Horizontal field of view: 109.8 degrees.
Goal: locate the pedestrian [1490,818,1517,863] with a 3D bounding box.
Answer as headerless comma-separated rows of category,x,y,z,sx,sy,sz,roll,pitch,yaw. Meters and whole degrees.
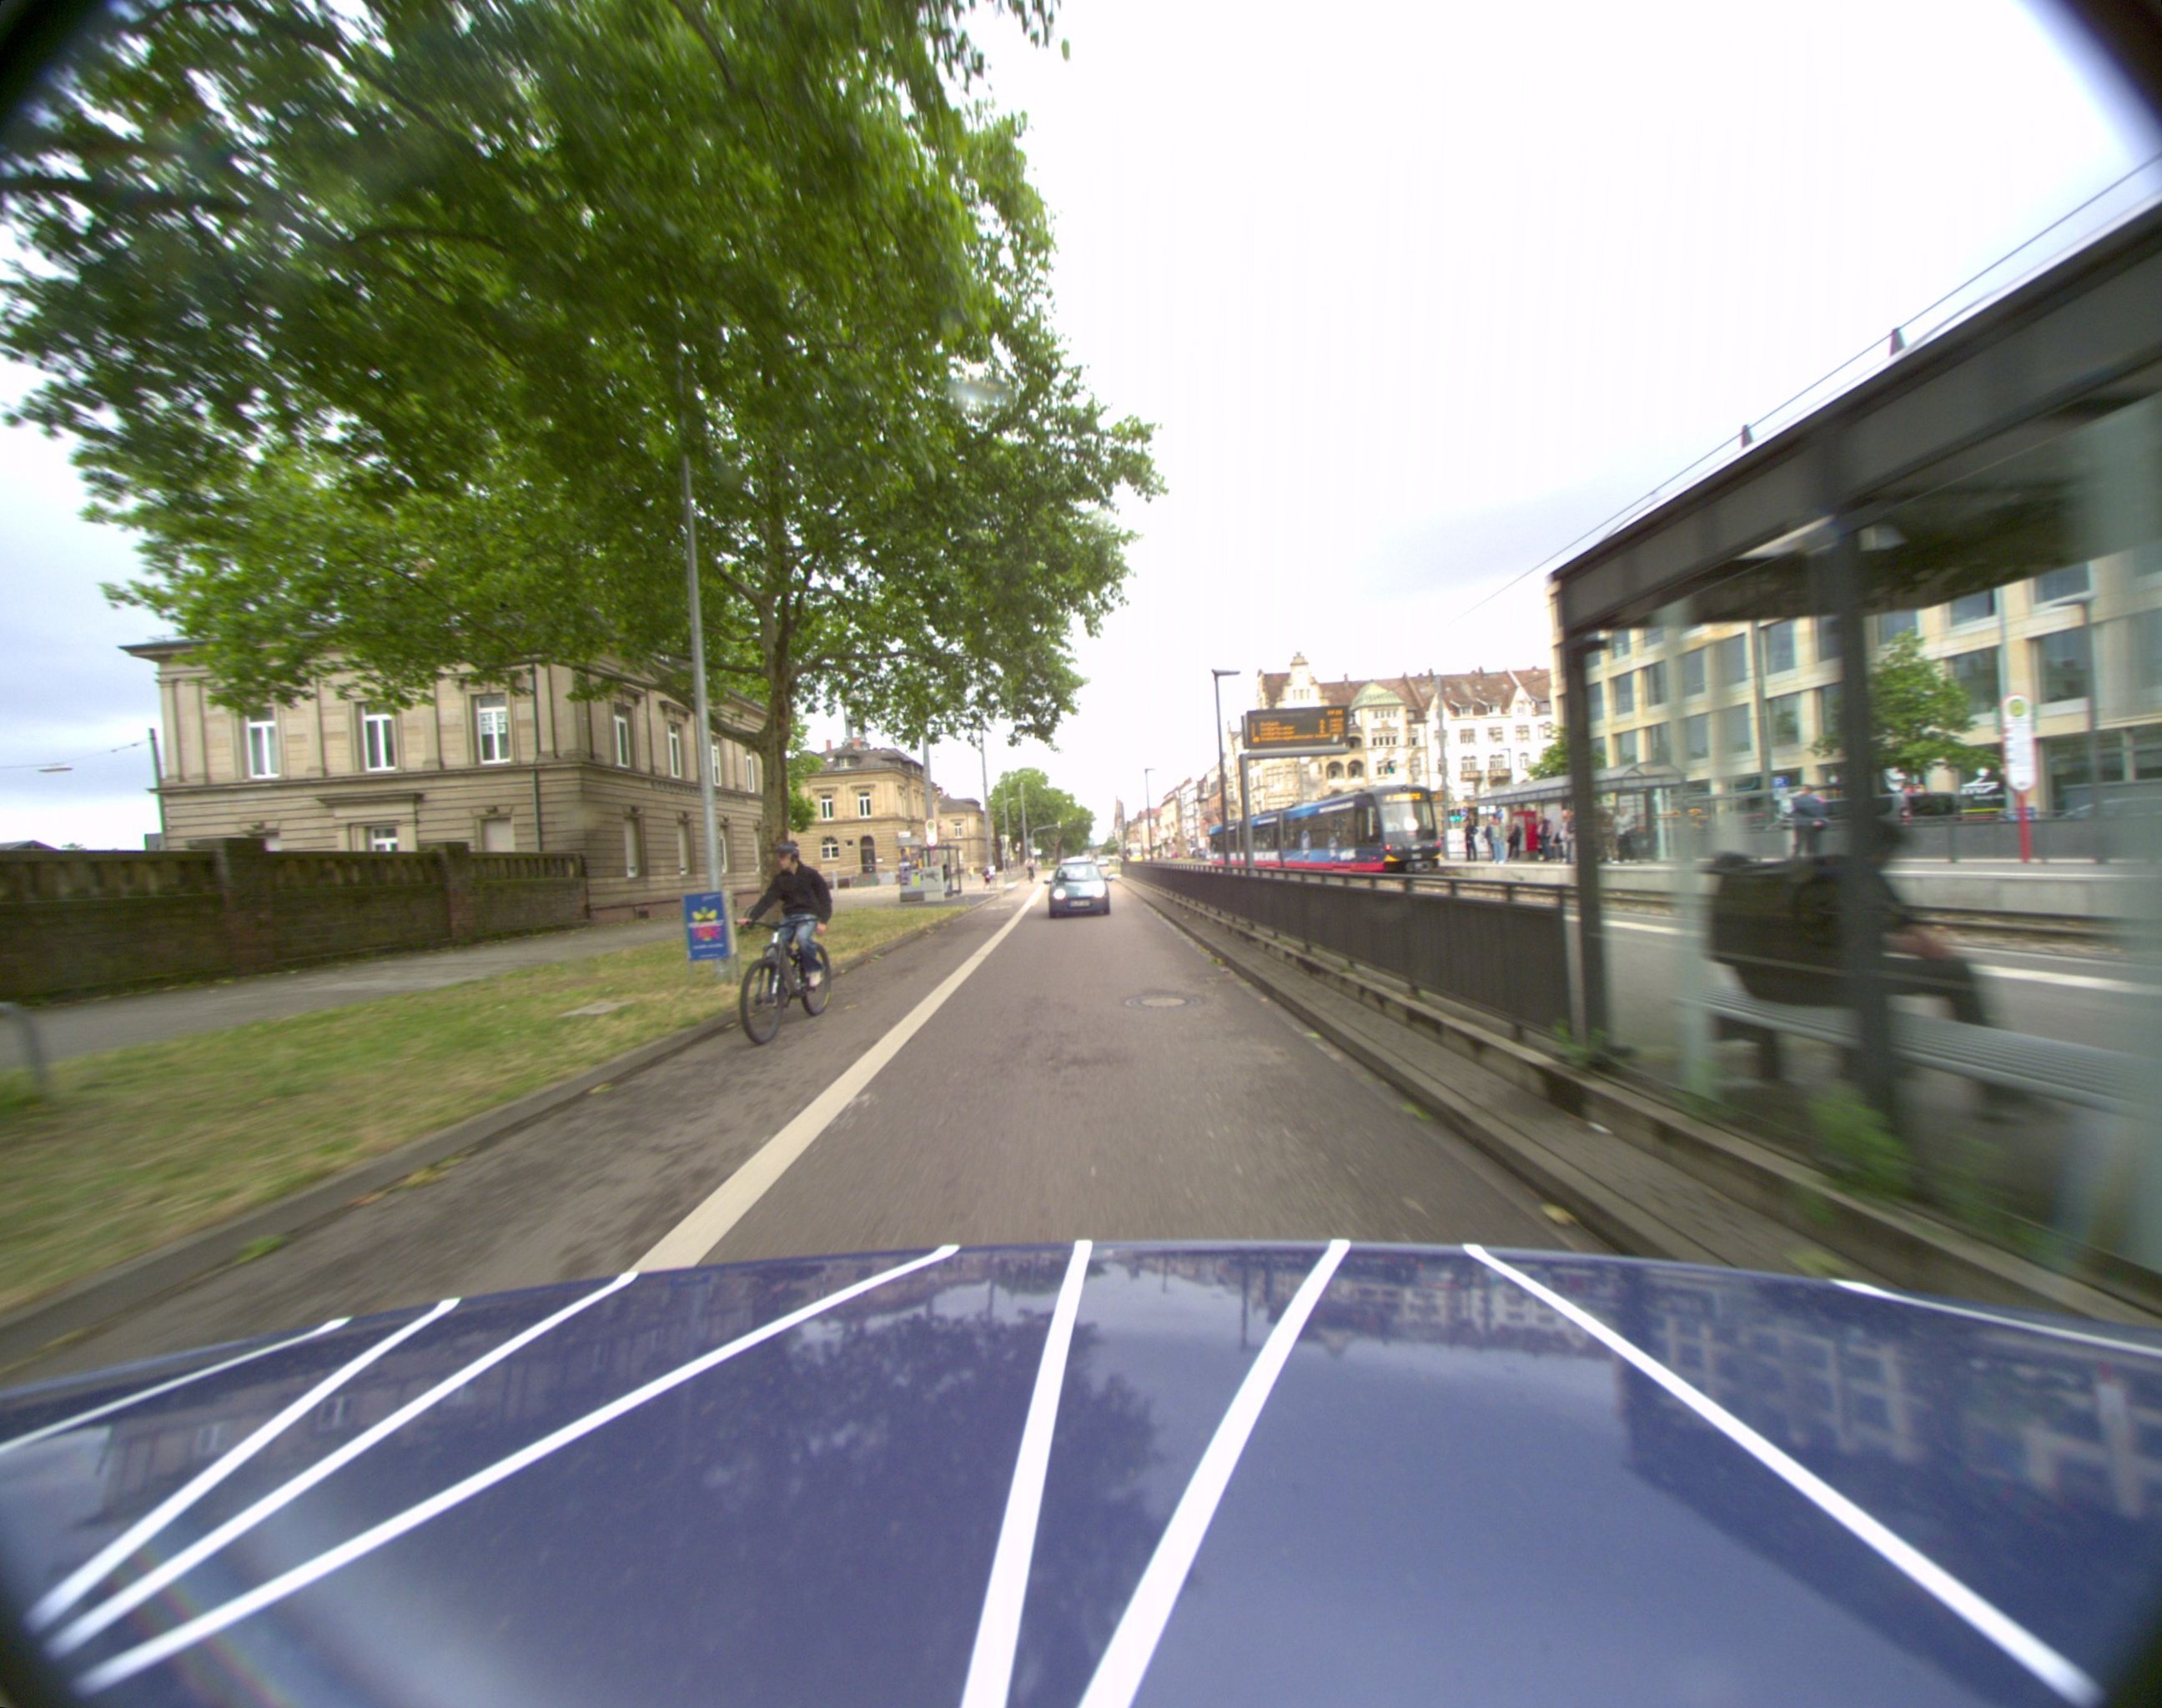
pedestrian,15.272,-0.477,27.467,0.596,1.579,0.588,-3,1,7

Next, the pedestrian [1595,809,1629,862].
pedestrian,16.541,-0.572,23.678,0.589,1.579,0.596,-4,1,-18

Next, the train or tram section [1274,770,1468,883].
train or tram section,11.561,-1.005,32.547,2.862,3.671,13.517,-3,1,-1

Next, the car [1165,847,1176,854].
car,21.580,-0.870,183.556,1.999,1.587,3.998,-3,1,-3

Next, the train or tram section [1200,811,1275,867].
train or tram section,11.439,-1.078,56.934,2.862,3.619,11.762,-3,1,-1

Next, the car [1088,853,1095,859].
car,3.567,0.710,263.639,1.999,2.002,3.999,-3,1,-1

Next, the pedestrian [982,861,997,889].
pedestrian,-5.133,1.160,42.643,0.552,1.520,0.639,-3,1,18

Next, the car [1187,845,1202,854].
car,21.659,-0.891,145.621,1.999,1.587,3.998,-3,1,-3

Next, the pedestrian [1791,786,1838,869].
pedestrian,16.051,-0.575,16.627,0.589,1.759,0.596,-4,2,-36

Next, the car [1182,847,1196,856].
car,21.734,-0.550,152.403,1.999,1.587,3.998,-3,1,-3

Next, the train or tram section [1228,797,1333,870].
train or tram section,11.476,-1.131,45.194,2.862,3.619,11.697,-3,1,-1

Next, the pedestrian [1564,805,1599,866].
pedestrian,14.968,-0.554,22.736,0.596,1.759,0.588,-3,1,7

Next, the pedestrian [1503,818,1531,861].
pedestrian,16.216,-0.539,28.278,0.589,1.579,0.596,-4,1,-18

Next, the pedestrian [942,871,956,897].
pedestrian,-6.498,1.457,37.345,0.477,1.227,0.702,-3,1,0

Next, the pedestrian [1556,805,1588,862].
pedestrian,15.412,-0.638,23.867,0.596,1.759,0.588,-3,1,7

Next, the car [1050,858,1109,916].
car,0.006,0.912,22.396,1.534,1.464,3.353,-2,1,2

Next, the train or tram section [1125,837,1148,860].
train or tram section,8.942,-0.986,123.780,2.651,3.417,13.617,-3,1,0

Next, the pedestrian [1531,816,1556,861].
pedestrian,16.826,-0.568,27.651,0.589,1.579,0.596,-5,2,-43

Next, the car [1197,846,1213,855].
car,21.641,-0.640,132.911,1.999,1.434,3.998,-3,1,-3

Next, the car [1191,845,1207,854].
car,21.643,-0.801,139.114,1.999,1.587,3.998,-3,1,-3

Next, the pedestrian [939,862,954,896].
pedestrian,-6.393,1.195,36.164,0.477,1.554,0.702,-3,1,0

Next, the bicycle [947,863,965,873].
bicycle,-14.087,1.627,85.752,1.859,1.072,0.546,-1,0,-18

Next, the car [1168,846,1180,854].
car,21.716,-0.944,177.406,1.999,1.587,3.998,-3,1,-3

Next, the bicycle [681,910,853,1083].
bicycle,-2.841,1.218,7.188,0.654,1.143,2.282,-3,1,-1

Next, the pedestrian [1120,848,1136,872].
pedestrian,3.305,0.399,53.281,0.862,1.633,0.651,-5,2,-41

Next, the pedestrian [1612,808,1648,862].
pedestrian,16.452,-0.554,22.787,0.589,1.579,0.596,-4,1,-18

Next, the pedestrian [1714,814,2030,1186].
pedestrian,3.146,0.536,3.078,0.612,1.333,0.600,-3,1,1

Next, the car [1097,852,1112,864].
car,3.422,0.561,109.975,1.869,1.630,3.774,-3,1,-1

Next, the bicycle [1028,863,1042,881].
bicycle,-3.275,1.289,54.145,0.815,1.163,2.276,-3,1,-1

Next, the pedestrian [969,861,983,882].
pedestrian,-8.537,1.423,61.691,0.720,1.668,1.000,-3,1,10

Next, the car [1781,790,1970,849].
car,25.574,-1.057,24.699,1.998,1.652,4.000,-3,1,2

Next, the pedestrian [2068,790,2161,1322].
pedestrian,3.041,0.507,1.792,0.612,1.365,0.600,-3,1,1

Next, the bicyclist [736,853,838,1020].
bicyclist,-2.860,0.773,7.455,0.642,1.522,0.664,-3,1,-2

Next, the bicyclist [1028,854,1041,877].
bicyclist,-3.301,0.797,53.961,0.812,1.591,1.189,-3,1,-1
